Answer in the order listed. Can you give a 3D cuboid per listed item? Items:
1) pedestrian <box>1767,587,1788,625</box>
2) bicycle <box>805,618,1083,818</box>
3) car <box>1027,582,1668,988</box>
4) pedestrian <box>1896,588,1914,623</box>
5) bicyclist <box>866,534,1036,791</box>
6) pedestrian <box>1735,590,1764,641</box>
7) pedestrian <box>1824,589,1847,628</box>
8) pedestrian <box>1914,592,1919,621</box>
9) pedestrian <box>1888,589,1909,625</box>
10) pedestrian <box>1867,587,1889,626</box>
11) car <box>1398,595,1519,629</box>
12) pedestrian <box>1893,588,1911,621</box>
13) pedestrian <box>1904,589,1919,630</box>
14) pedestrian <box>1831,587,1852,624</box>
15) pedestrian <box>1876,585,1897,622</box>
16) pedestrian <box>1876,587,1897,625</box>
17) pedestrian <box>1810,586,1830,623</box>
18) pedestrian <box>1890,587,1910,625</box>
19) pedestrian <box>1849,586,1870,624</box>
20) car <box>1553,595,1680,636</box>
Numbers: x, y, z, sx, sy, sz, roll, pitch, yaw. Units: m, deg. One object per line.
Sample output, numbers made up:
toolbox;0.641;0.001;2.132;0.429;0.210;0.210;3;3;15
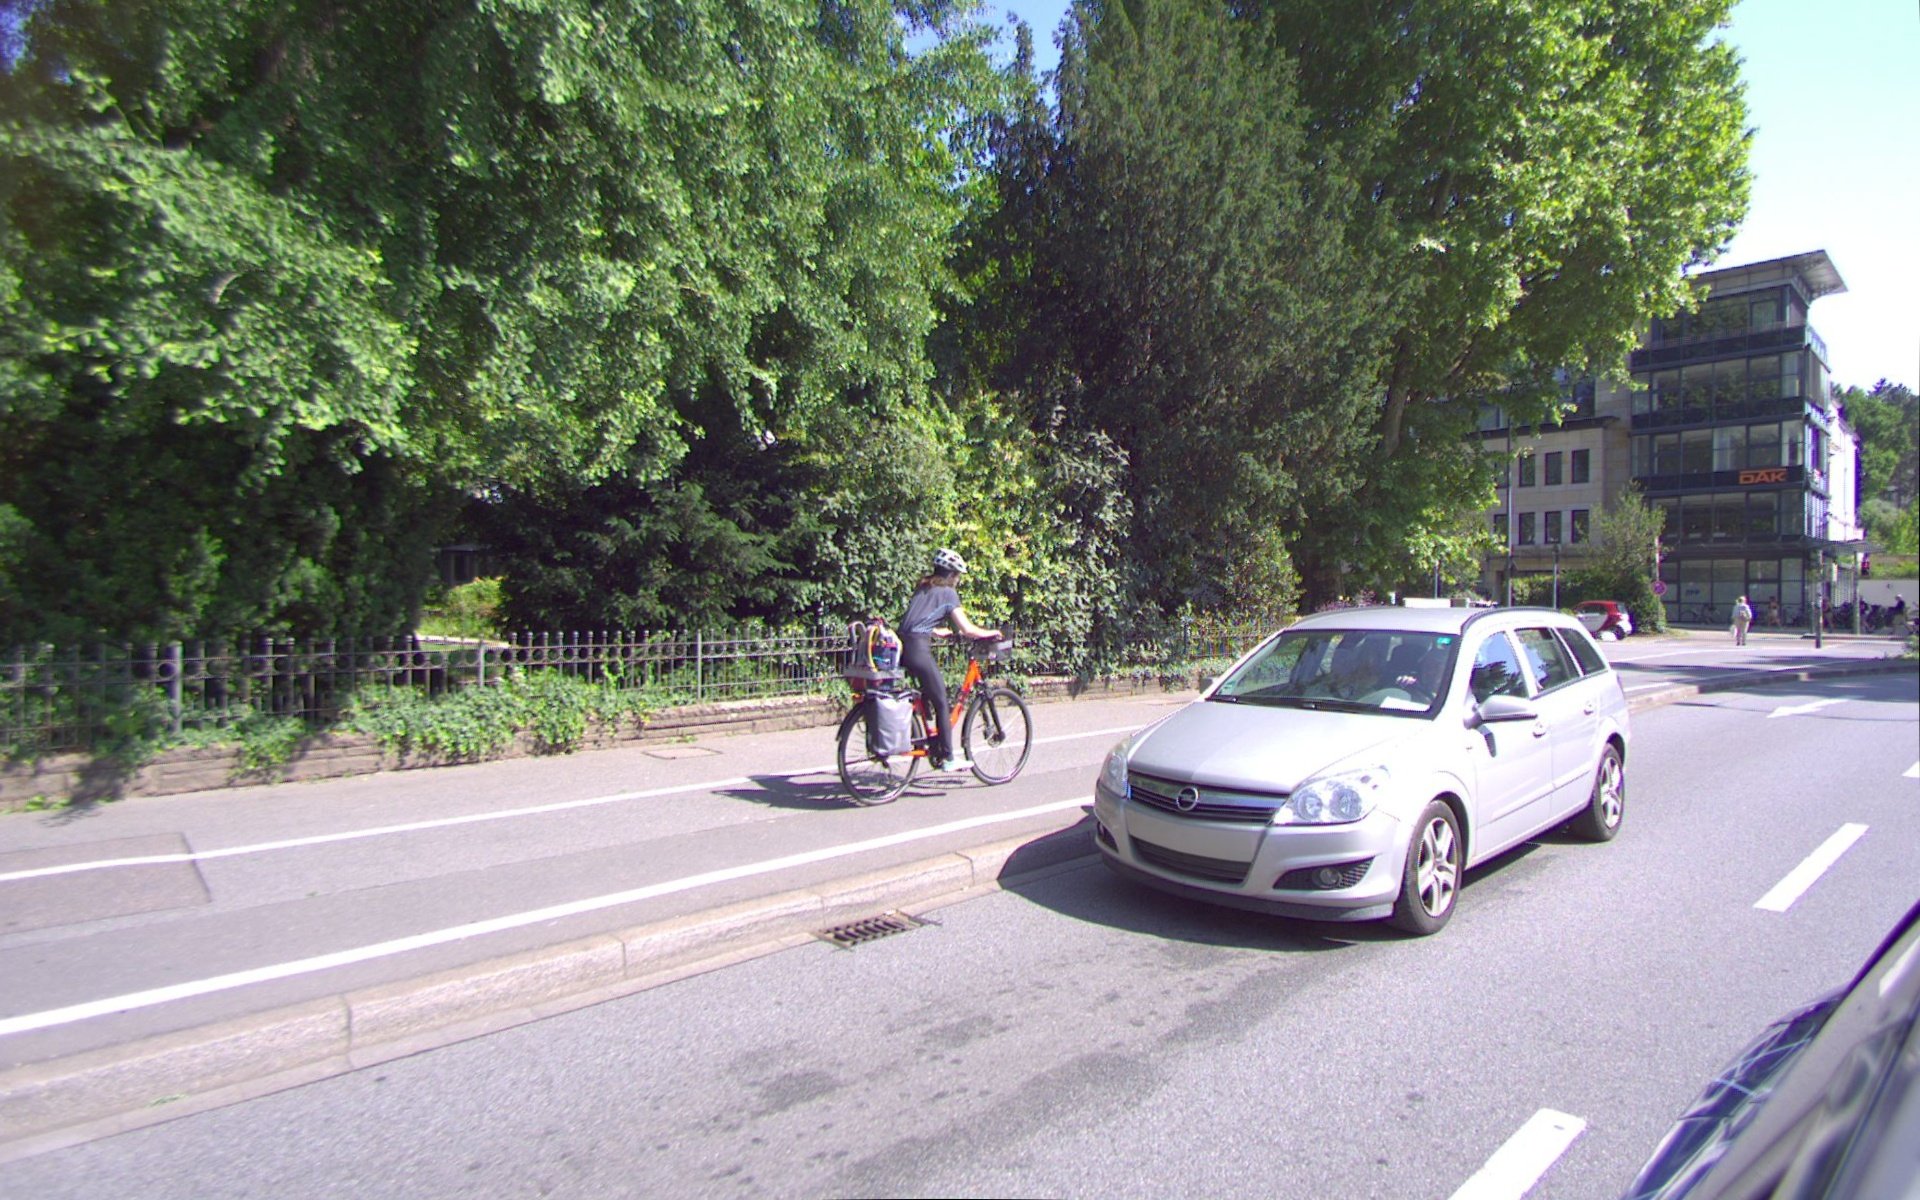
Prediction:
pedestrian;37.439;0.258;46.361;0.593;1.727;0.688;1;-1;-45
bicycle;-0.057;0.733;7.095;1.969;1.134;0.758;-1;2;-44
car;2.522;0.728;5.940;4.329;1.542;1.710;1;-1;-41
pedestrian;47.464;0.286;50.851;0.594;1.727;0.601;1;-1;-42
bicyclist;-0.058;0.390;7.114;0.928;1.656;0.765;0;1;-44
pedestrian;26.770;0.517;34.327;0.709;1.694;0.526;0;-1;45
pedestrian;38.746;0.370;44.779;0.635;1.727;0.653;1;-1;-40
pedestrian;53.237;0.353;55.923;0.593;1.617;0.602;0;-1;-35
pedestrian;44.929;0.323;48.452;0.716;1.727;0.602;0;-1;-37
pedestrian;40.550;0.282;44.698;0.678;1.727;0.603;1;-1;-40
car;22.802;0.519;46.376;4.670;1.470;1.784;0;0;43
pedestrian;49.073;0.233;52.728;0.594;1.727;0.601;1;-1;-42
pedestrian;40.799;0.413;43.127;0.591;1.727;0.702;0;-1;-35
pedestrian;41.189;0.242;47.286;0.593;1.727;0.602;0;-1;-37
pedestrian;42.801;0.158;46.755;0.593;1.727;0.602;1;-1;-37
pedestrian;42.261;0.274;46.159;0.593;1.727;0.602;0;-1;-37
pedestrian;40.491;0.232;47.666;0.593;1.727;0.602;0;-1;-37
pedestrian;43.476;0.267;46.807;0.593;1.727;0.602;0;-1;-37
pedestrian;41.582;0.239;46.788;0.593;1.727;0.602;0;-1;-37
car;25.740;0.572;39.734;3.940;1.469;1.784;2;1;43
